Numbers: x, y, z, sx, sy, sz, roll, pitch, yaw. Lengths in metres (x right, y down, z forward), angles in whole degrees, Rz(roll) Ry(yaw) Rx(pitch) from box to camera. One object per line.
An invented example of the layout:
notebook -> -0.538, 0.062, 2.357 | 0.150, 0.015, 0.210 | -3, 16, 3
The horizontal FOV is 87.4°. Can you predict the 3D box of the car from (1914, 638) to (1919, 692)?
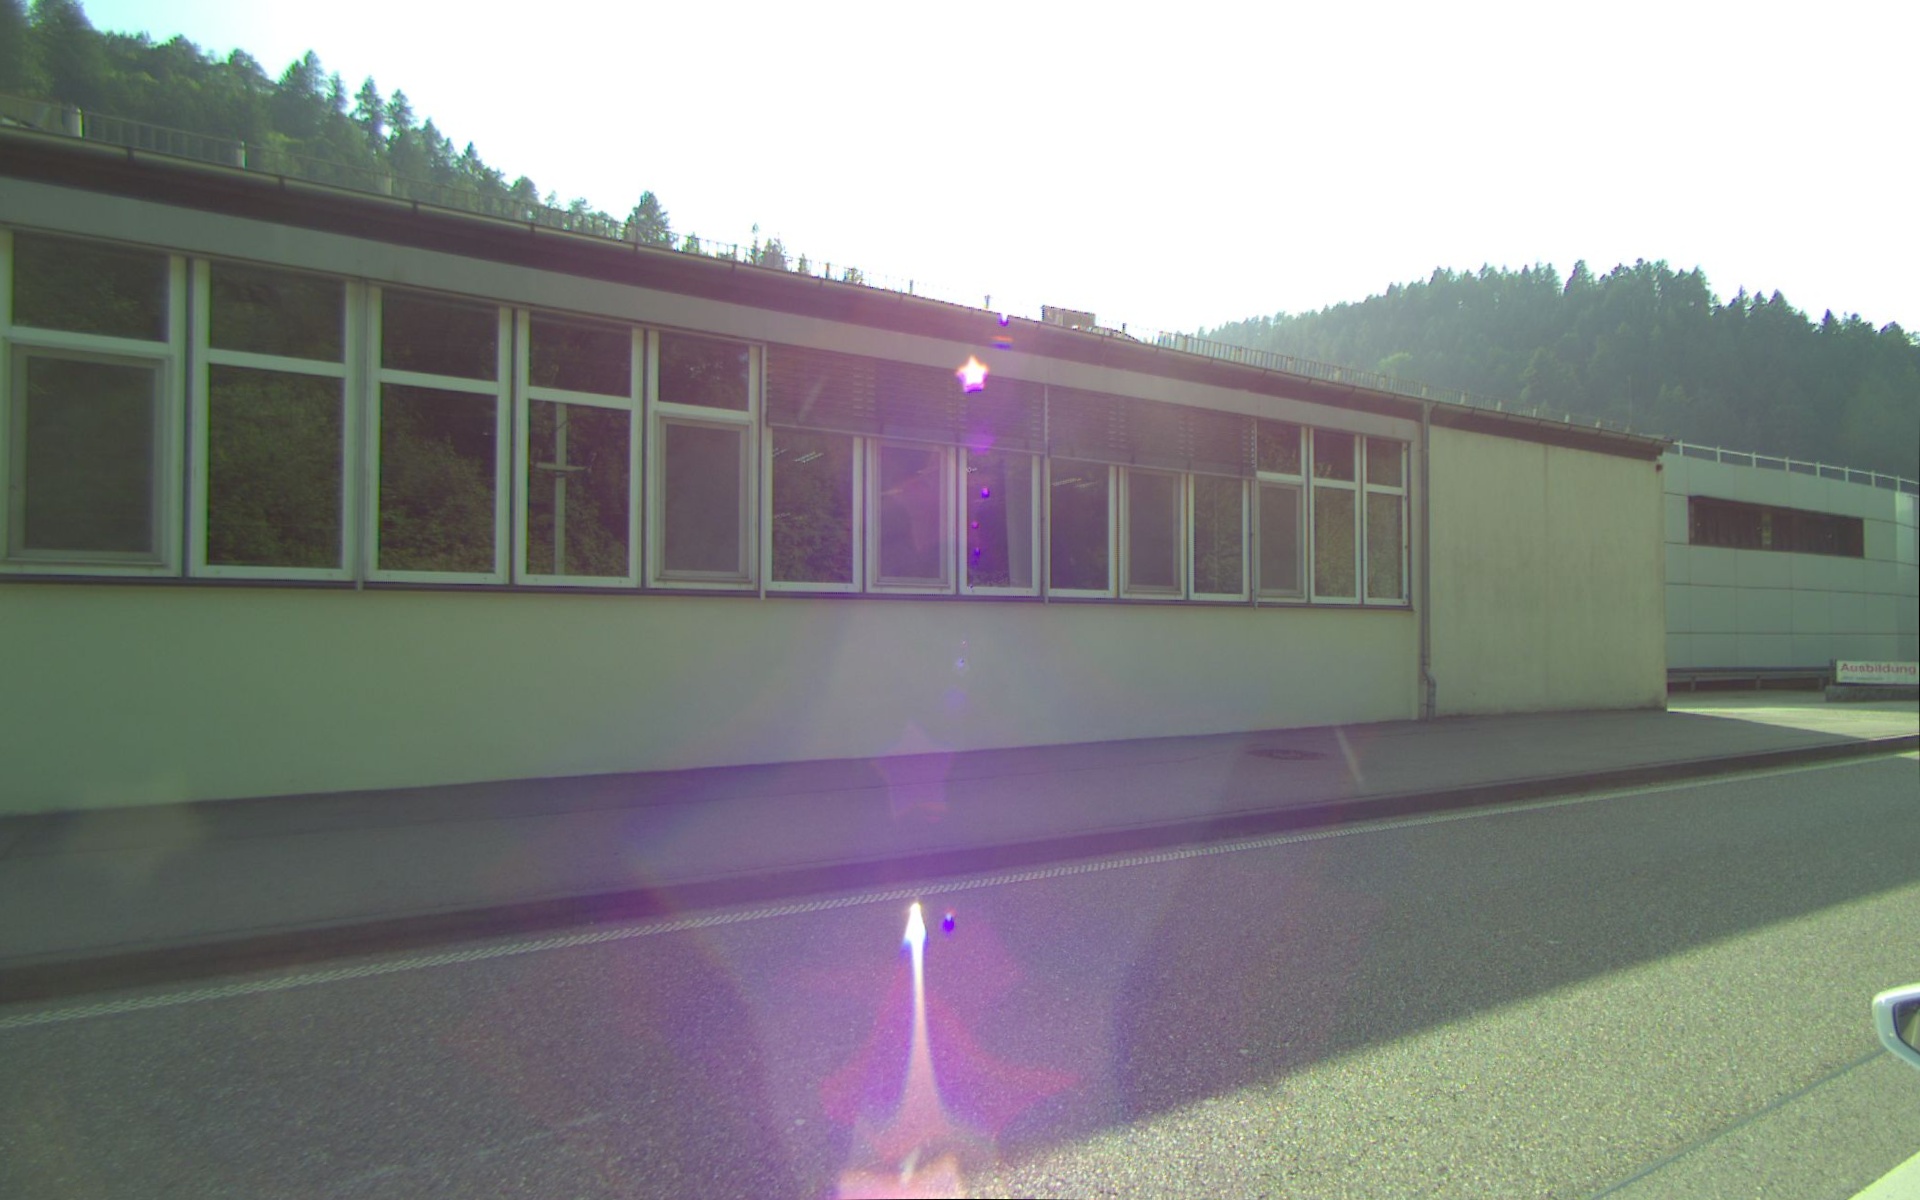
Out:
car -> 30.613, 1.941, 28.970 | 4.090, 1.613, 1.890 | 0, -1, 12
